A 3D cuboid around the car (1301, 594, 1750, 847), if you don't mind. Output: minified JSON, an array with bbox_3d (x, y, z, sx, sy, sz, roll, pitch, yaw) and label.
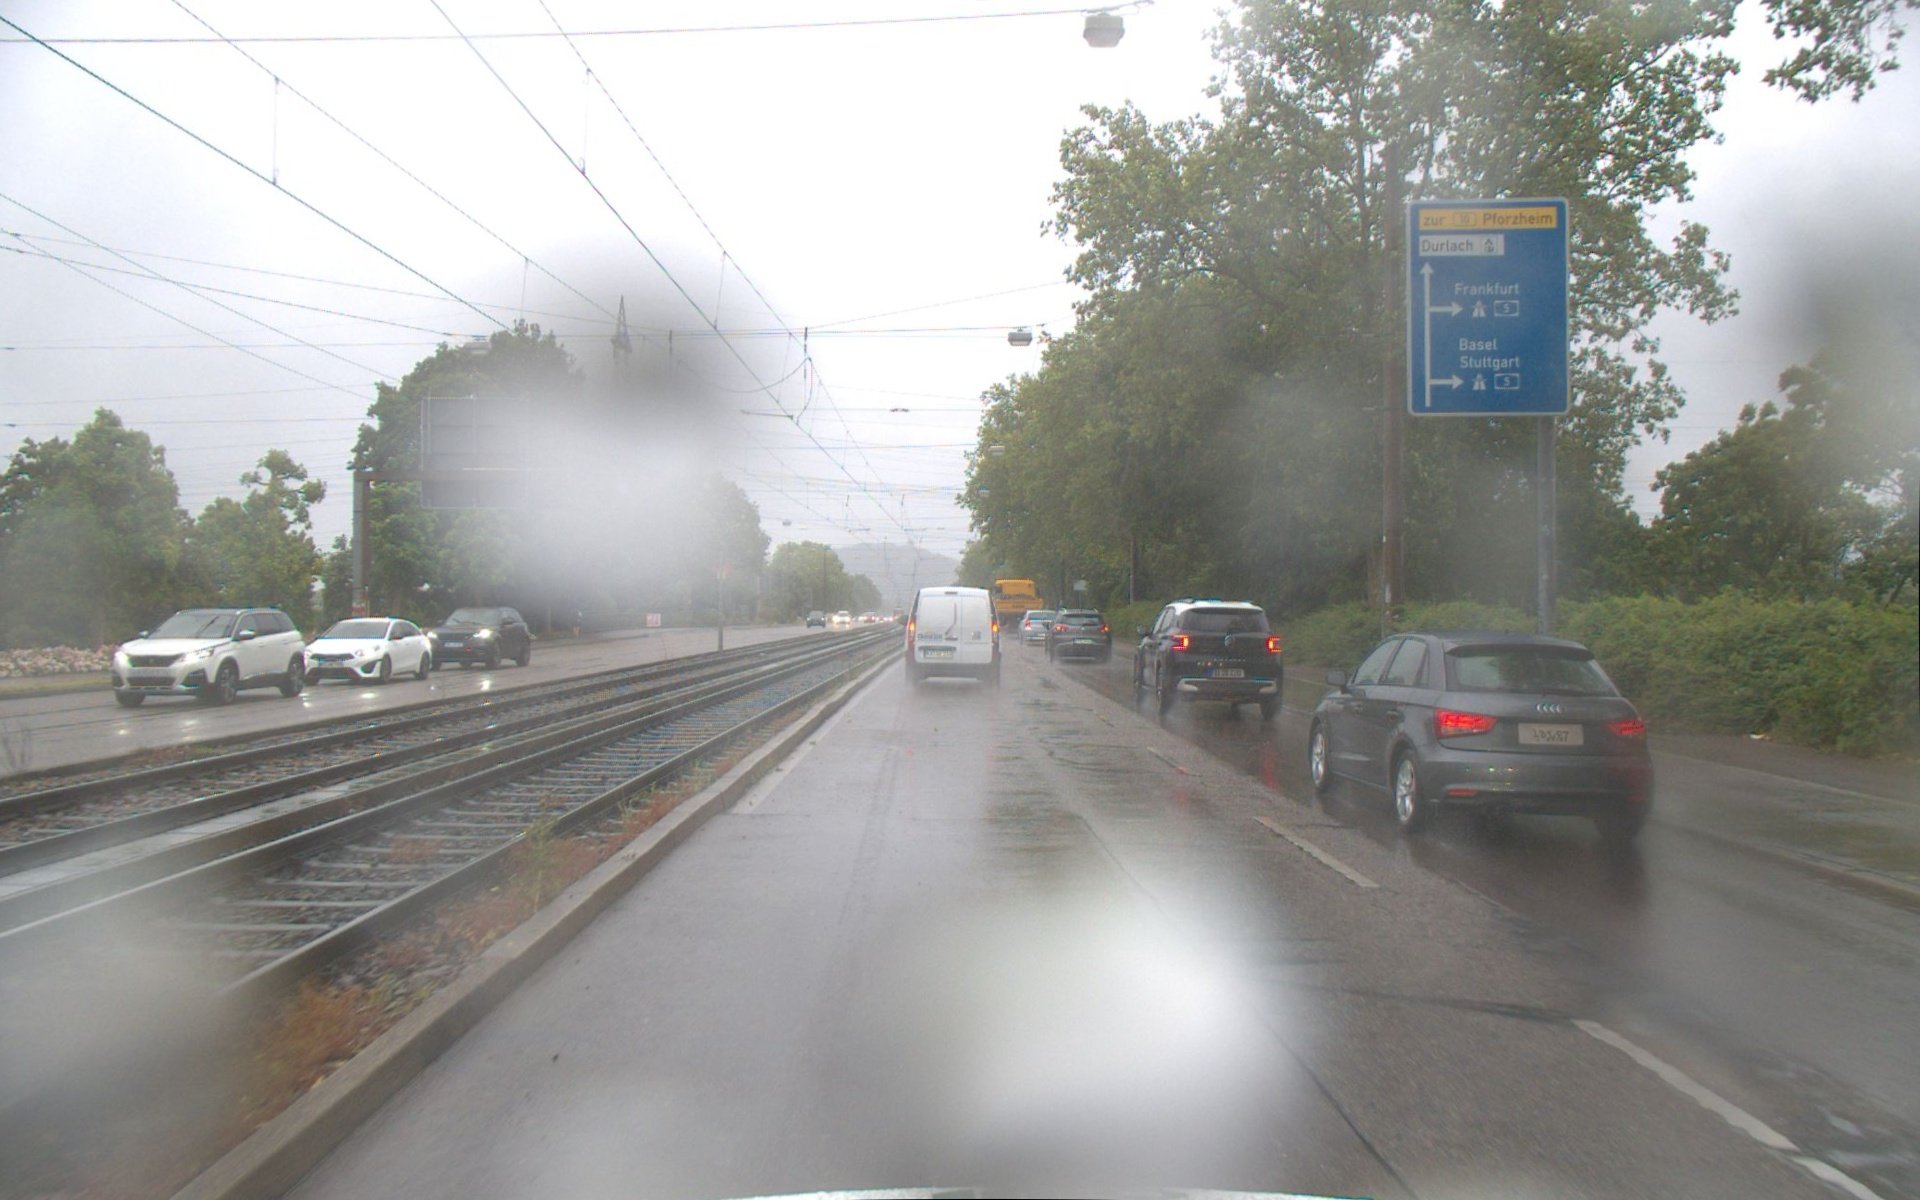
[{"bbox_3d":[4.031,0.765,12.567,1.928,1.555,3.989,1,0,-2],"label":"car"}]

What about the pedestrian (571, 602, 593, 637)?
[{"bbox_3d":[-19.741,1.024,86.379,0.834,1.790,1.120,-1,0,0],"label":"pedestrian"}]

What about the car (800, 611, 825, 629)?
[{"bbox_3d":[-14.013,1.886,157.424,1.952,1.646,4.254,0,0,1],"label":"car"}]

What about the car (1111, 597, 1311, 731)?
[{"bbox_3d":[3.621,0.866,24.796,1.862,1.747,4.720,1,0,-5],"label":"car"}]

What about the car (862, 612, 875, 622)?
[{"bbox_3d":[-13.750,2.484,247.654,1.623,1.512,4.013,0,0,1],"label":"car"}]

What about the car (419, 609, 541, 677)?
[{"bbox_3d":[-13.227,1.138,45.883,1.953,1.751,4.881,-1,0,0],"label":"car"}]

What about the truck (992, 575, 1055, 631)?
[{"bbox_3d":[3.315,0.137,88.110,3.049,2.822,6.328,1,0,-1],"label":"truck"}]

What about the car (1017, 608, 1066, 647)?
[{"bbox_3d":[3.244,1.081,66.571,1.781,1.438,3.778,1,0,0],"label":"car"}]

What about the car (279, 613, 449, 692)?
[{"bbox_3d":[-13.327,1.123,37.313,1.952,1.611,4.767,-1,0,2],"label":"car"}]

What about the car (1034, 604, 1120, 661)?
[{"bbox_3d":[3.235,0.872,46.276,1.783,1.438,3.774,1,0,-6],"label":"car"}]

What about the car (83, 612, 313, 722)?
[{"bbox_3d":[-13.278,1.104,29.187,1.735,1.712,4.690,2,0,1],"label":"car"}]

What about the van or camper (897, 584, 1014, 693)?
[{"bbox_3d":[-0.154,0.651,30.874,1.954,1.815,3.998,2,1,-3],"label":"van or camper"}]
